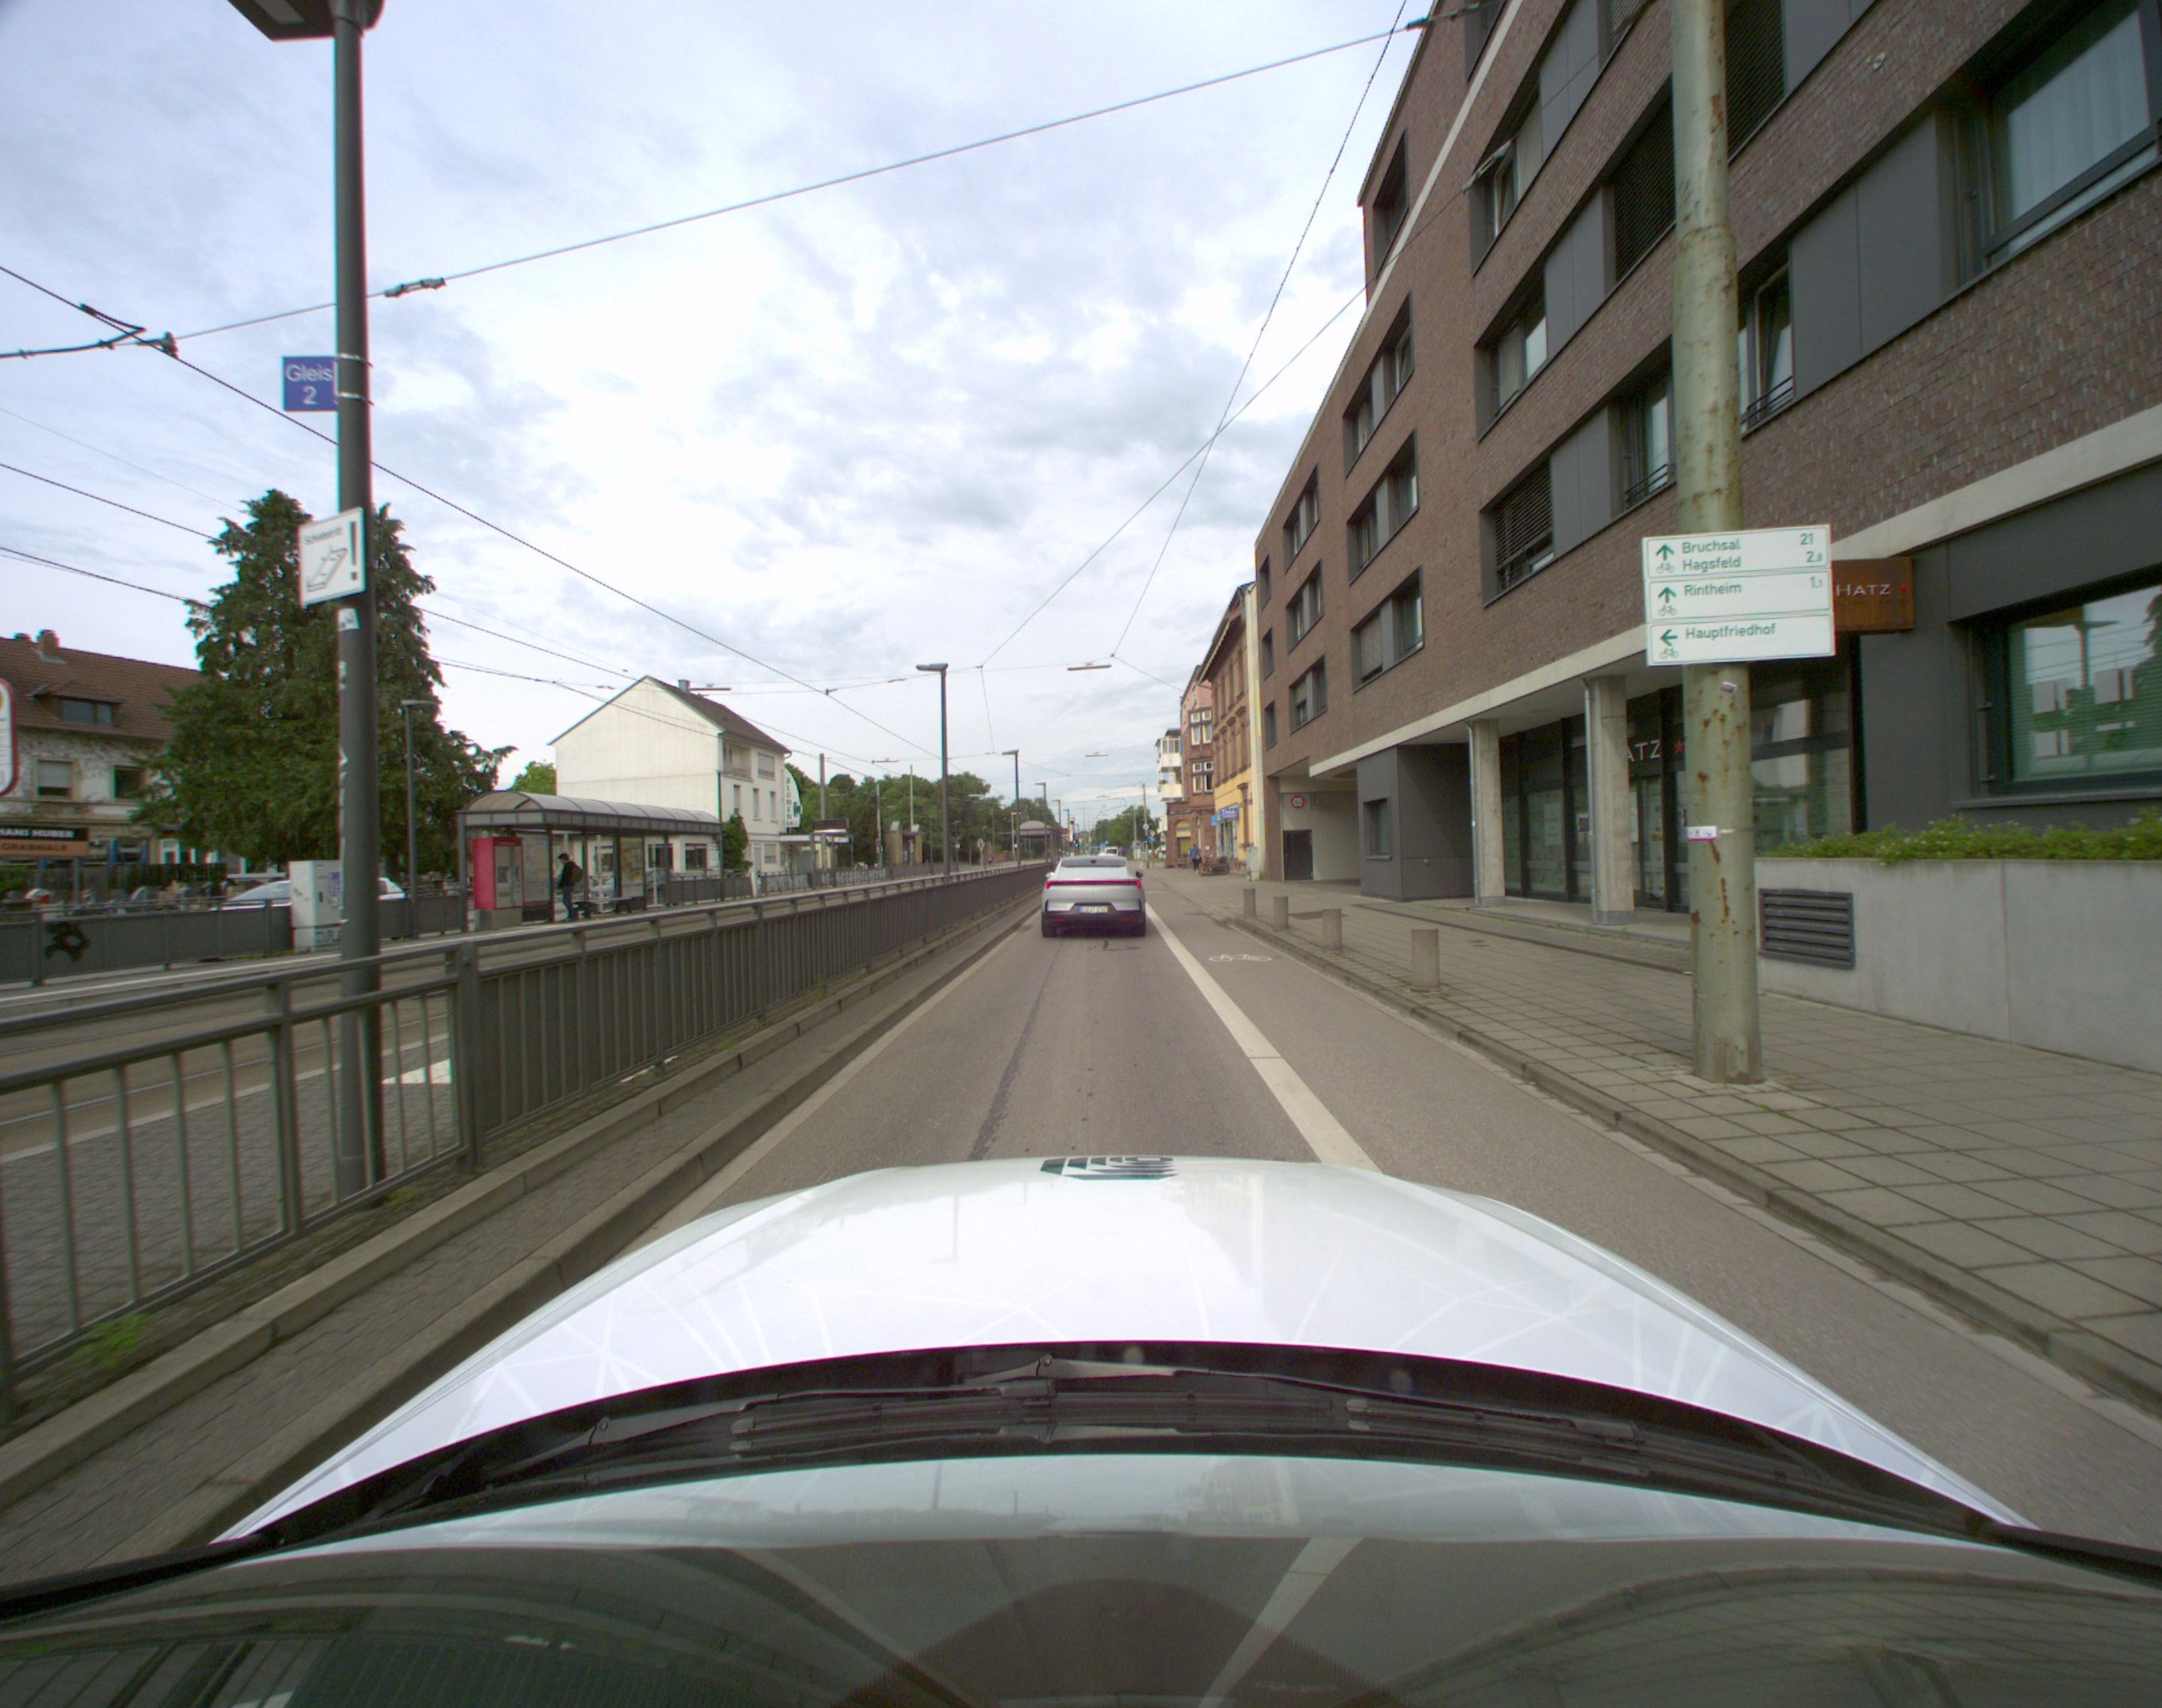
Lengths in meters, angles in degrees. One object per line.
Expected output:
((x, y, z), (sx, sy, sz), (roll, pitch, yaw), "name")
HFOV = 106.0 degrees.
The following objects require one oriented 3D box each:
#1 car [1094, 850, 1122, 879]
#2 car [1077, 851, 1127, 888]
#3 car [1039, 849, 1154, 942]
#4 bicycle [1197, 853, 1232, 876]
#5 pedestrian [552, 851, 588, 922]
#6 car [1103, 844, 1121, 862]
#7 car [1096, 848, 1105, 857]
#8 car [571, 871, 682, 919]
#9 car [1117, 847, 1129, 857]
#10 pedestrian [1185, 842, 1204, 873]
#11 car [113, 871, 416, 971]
((1.718, 0.640, 51.330), (1.674, 1.687, 3.825), (-1, 0, 2), "car")
((0.885, 0.638, 35.127), (1.987, 1.419, 4.000), (-3, 0, 0), "car")
((0.191, 0.747, 16.279), (1.995, 1.581, 3.996), (-1, -1, -3), "car")
((7.389, 0.581, 45.181), (1.771, 1.129, 0.642), (-4, 0, 0), "bicycle")
((-12.203, 0.764, 19.450), (0.700, 1.664, 0.611), (-1, -1, -32), "pedestrian")
((4.466, -0.117, 117.774), (2.220, 2.402, 5.119), (-1, 0, -2), "car")
((4.415, -0.267, 184.007), (1.986, 2.013, 4.002), (-2, 0, 2), "car")
((-15.405, 1.348, 27.878), (1.760, 1.451, 3.994), (-2, -1, -4), "car")
((10.510, -0.456, 204.486), (2.796, 2.505, 5.725), (-1, 0, 2), "car")
((7.121, 0.206, 51.124), (0.957, 1.850, 0.976), (-4, 0, 2), "pedestrian")
((-15.710, 1.201, 16.040), (1.859, 1.486, 3.998), (-4, 0, -1), "car")
